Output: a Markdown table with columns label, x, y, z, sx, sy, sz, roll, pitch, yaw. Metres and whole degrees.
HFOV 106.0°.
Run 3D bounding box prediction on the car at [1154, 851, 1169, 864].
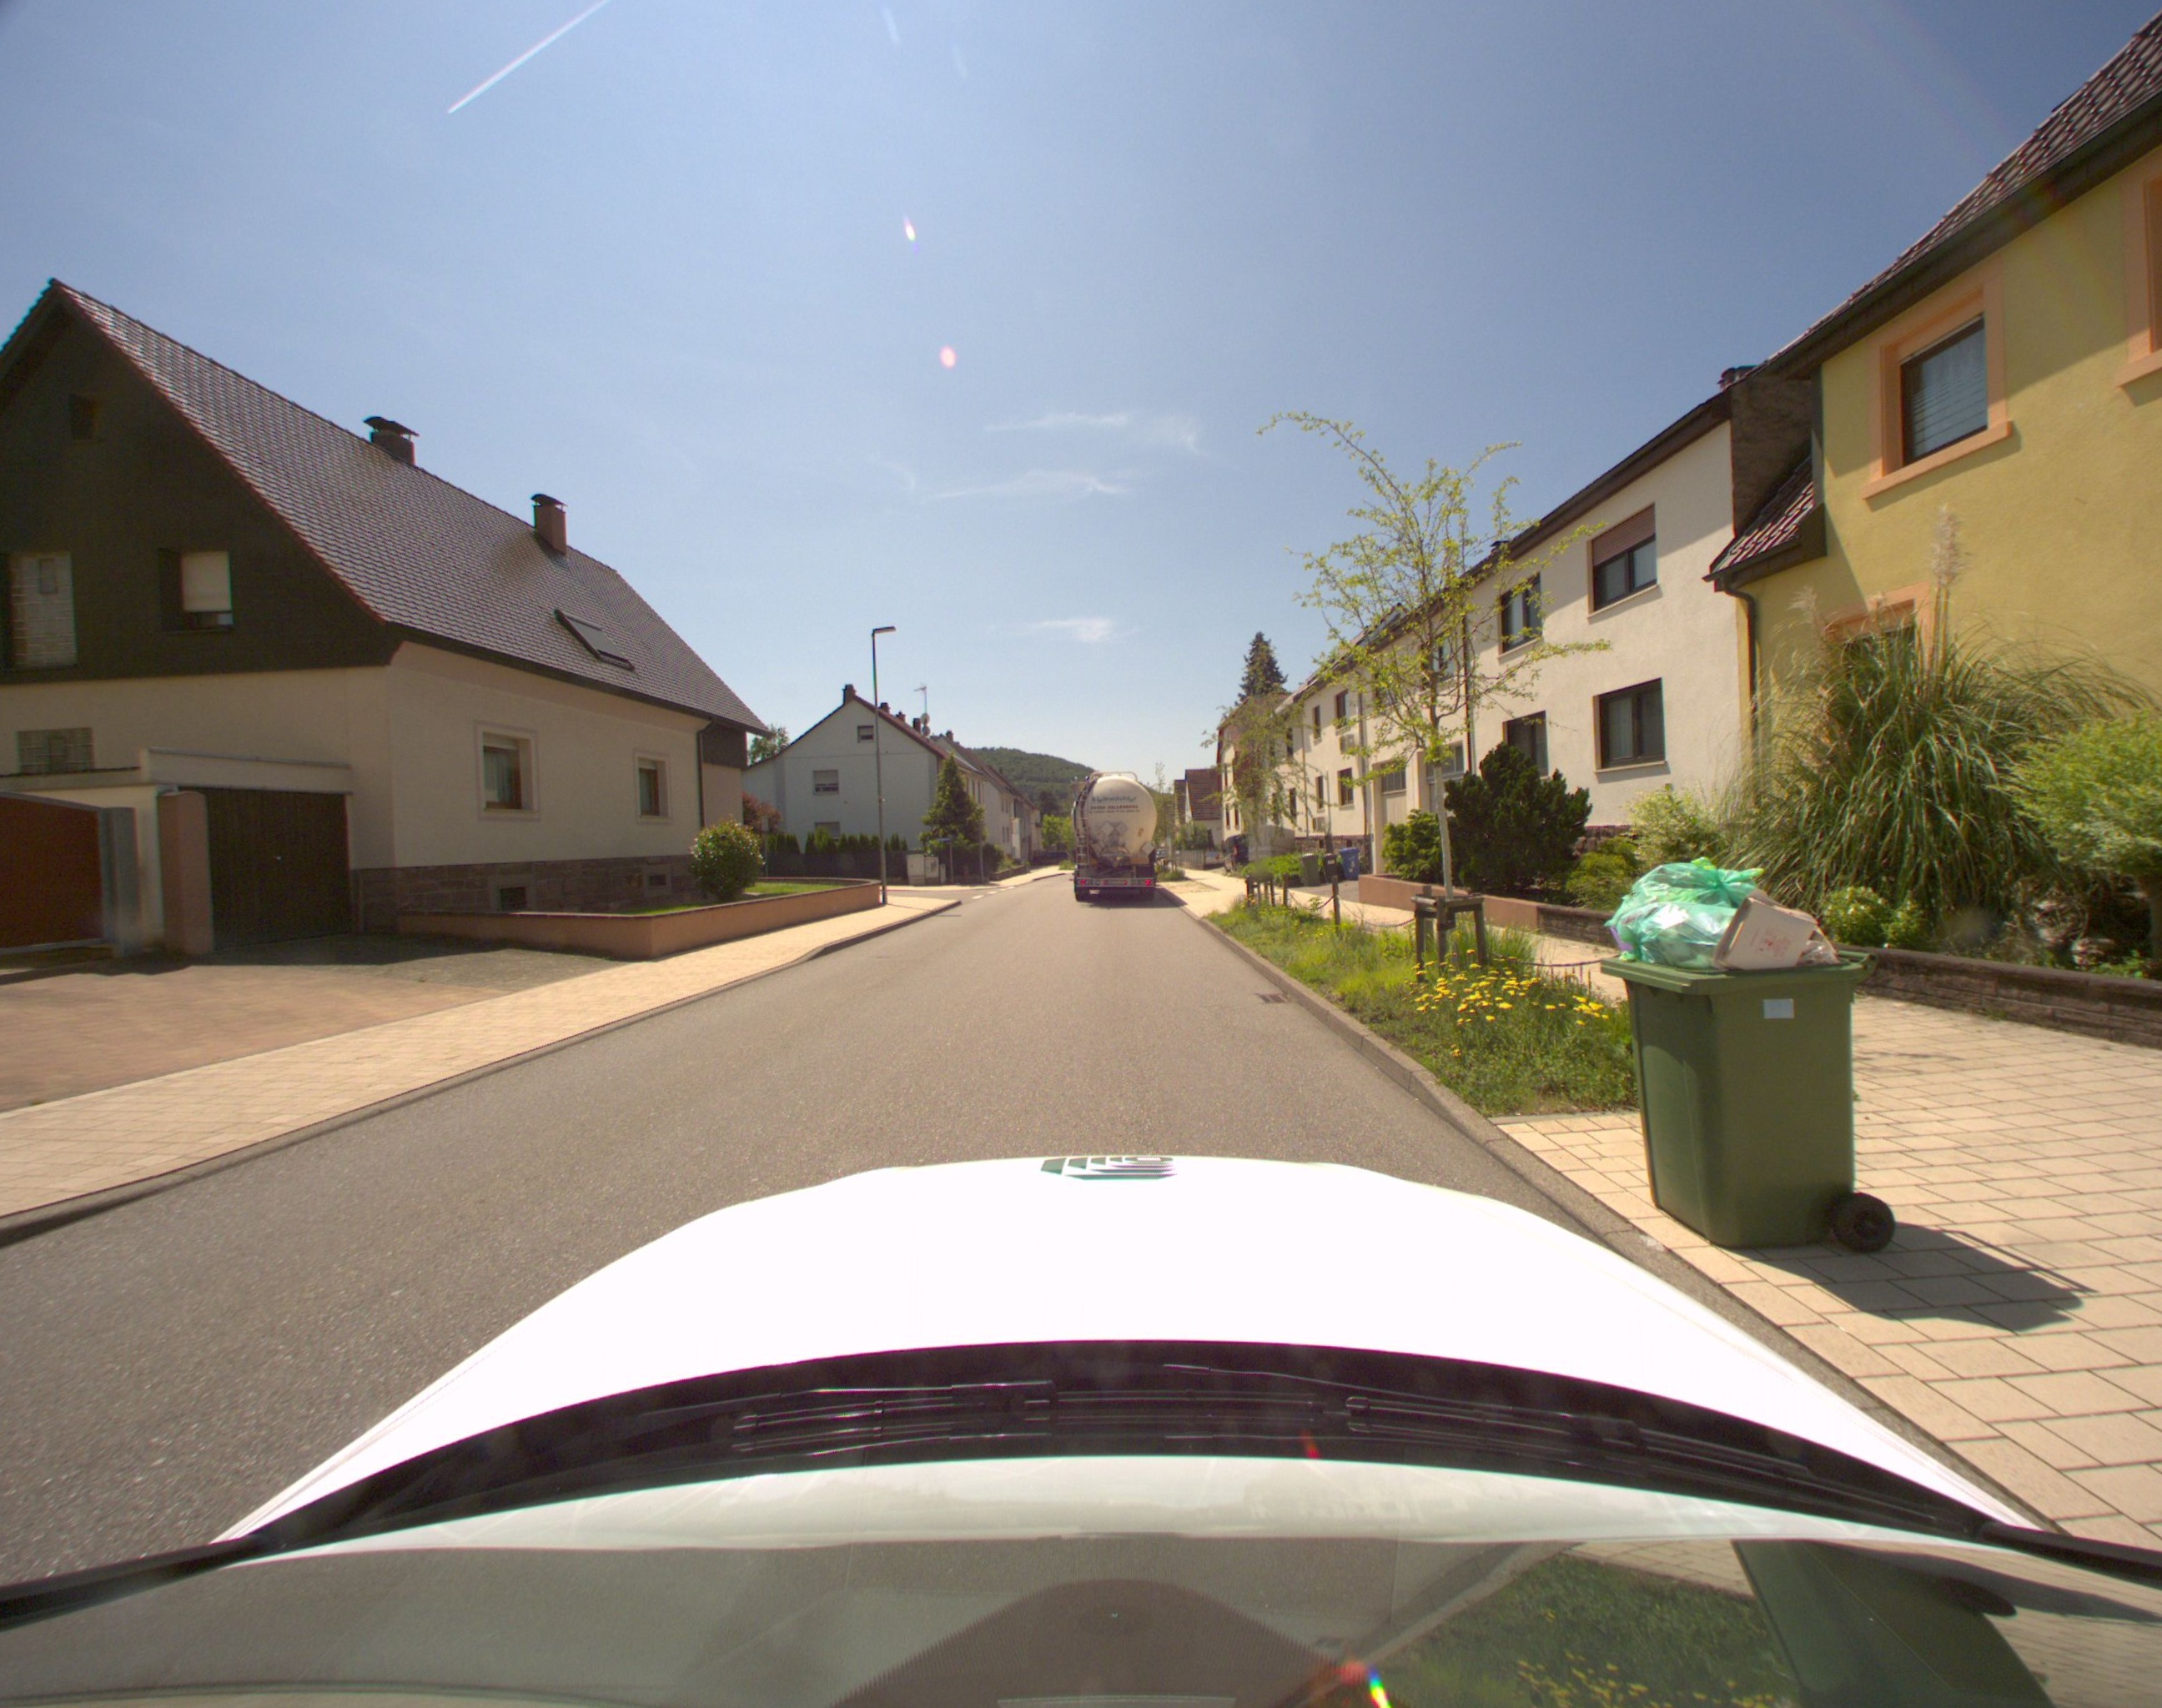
| label | x | y | z | sx | sy | sz | roll | pitch | yaw |
| --- | --- | --- | --- | --- | --- | --- | --- | --- | --- |
| car | 10.813 | 0.460 | 109.933 | 1.783 | 1.541 | 4.524 | -5 | 0 | 4 |

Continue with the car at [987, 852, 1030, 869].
| label | x | y | z | sx | sy | sz | roll | pitch | yaw |
| --- | --- | --- | --- | --- | --- | --- | --- | --- | --- |
| car | -7.188 | 0.636 | 81.078 | 3.971 | 1.545 | 1.833 | -1 | 0 | 2 |

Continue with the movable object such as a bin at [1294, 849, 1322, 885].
| label | x | y | z | sx | sy | sz | roll | pitch | yaw |
| --- | --- | --- | --- | --- | --- | --- | --- | --- | --- |
| movable object such as a bin | 7.566 | 0.417 | 27.137 | 0.680 | 1.115 | 0.814 | -6 | -1 | 7 |

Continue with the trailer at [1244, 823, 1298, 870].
| label | x | y | z | sx | sy | sz | roll | pitch | yaw |
| --- | --- | --- | --- | --- | --- | --- | --- | --- | --- |
| trailer | 8.506 | -0.317 | 36.421 | 1.308 | 2.013 | 2.287 | -1 | 0 | 44 |

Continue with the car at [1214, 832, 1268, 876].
| label | x | y | z | sx | sy | sz | roll | pitch | yaw |
| --- | --- | --- | --- | --- | --- | --- | --- | --- | --- |
| car | 8.027 | -0.010 | 41.279 | 1.845 | 1.971 | 4.775 | -4 | 0 | 2 |

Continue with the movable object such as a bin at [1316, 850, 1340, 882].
| label | x | y | z | sx | sy | sz | roll | pitch | yaw |
| --- | --- | --- | --- | --- | --- | --- | --- | --- | --- |
| movable object such as a bin | 8.261 | 0.395 | 27.245 | 0.554 | 0.986 | 0.805 | -6 | -1 | 9 |

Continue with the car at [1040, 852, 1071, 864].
| label | x | y | z | sx | sy | sz | roll | pitch | yaw |
| --- | --- | --- | --- | --- | --- | --- | --- | --- | --- |
| car | -3.251 | 0.558 | 103.861 | 3.505 | 1.439 | 1.710 | -2 | 0 | 36 |

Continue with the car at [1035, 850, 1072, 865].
| label | x | y | z | sx | sy | sz | roll | pitch | yaw |
| --- | --- | --- | --- | --- | --- | --- | --- | --- | --- |
| car | -3.382 | 0.403 | 99.763 | 4.379 | 1.750 | 1.878 | -2 | 0 | 1 |

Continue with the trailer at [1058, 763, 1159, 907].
| label | x | y | z | sx | sy | sz | roll | pitch | yaw |
| --- | --- | --- | --- | --- | --- | --- | --- | --- | --- |
| trailer | 0.940 | -0.578 | 28.229 | 2.785 | 4.000 | 10.328 | -1 | 0 | 2 |

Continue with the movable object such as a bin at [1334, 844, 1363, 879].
| label | x | y | z | sx | sy | sz | roll | pitch | yaw |
| --- | --- | --- | --- | --- | --- | --- | --- | --- | --- |
| movable object such as a bin | 8.930 | 0.252 | 27.183 | 0.681 | 1.106 | 0.865 | -5 | -1 | 8 |
